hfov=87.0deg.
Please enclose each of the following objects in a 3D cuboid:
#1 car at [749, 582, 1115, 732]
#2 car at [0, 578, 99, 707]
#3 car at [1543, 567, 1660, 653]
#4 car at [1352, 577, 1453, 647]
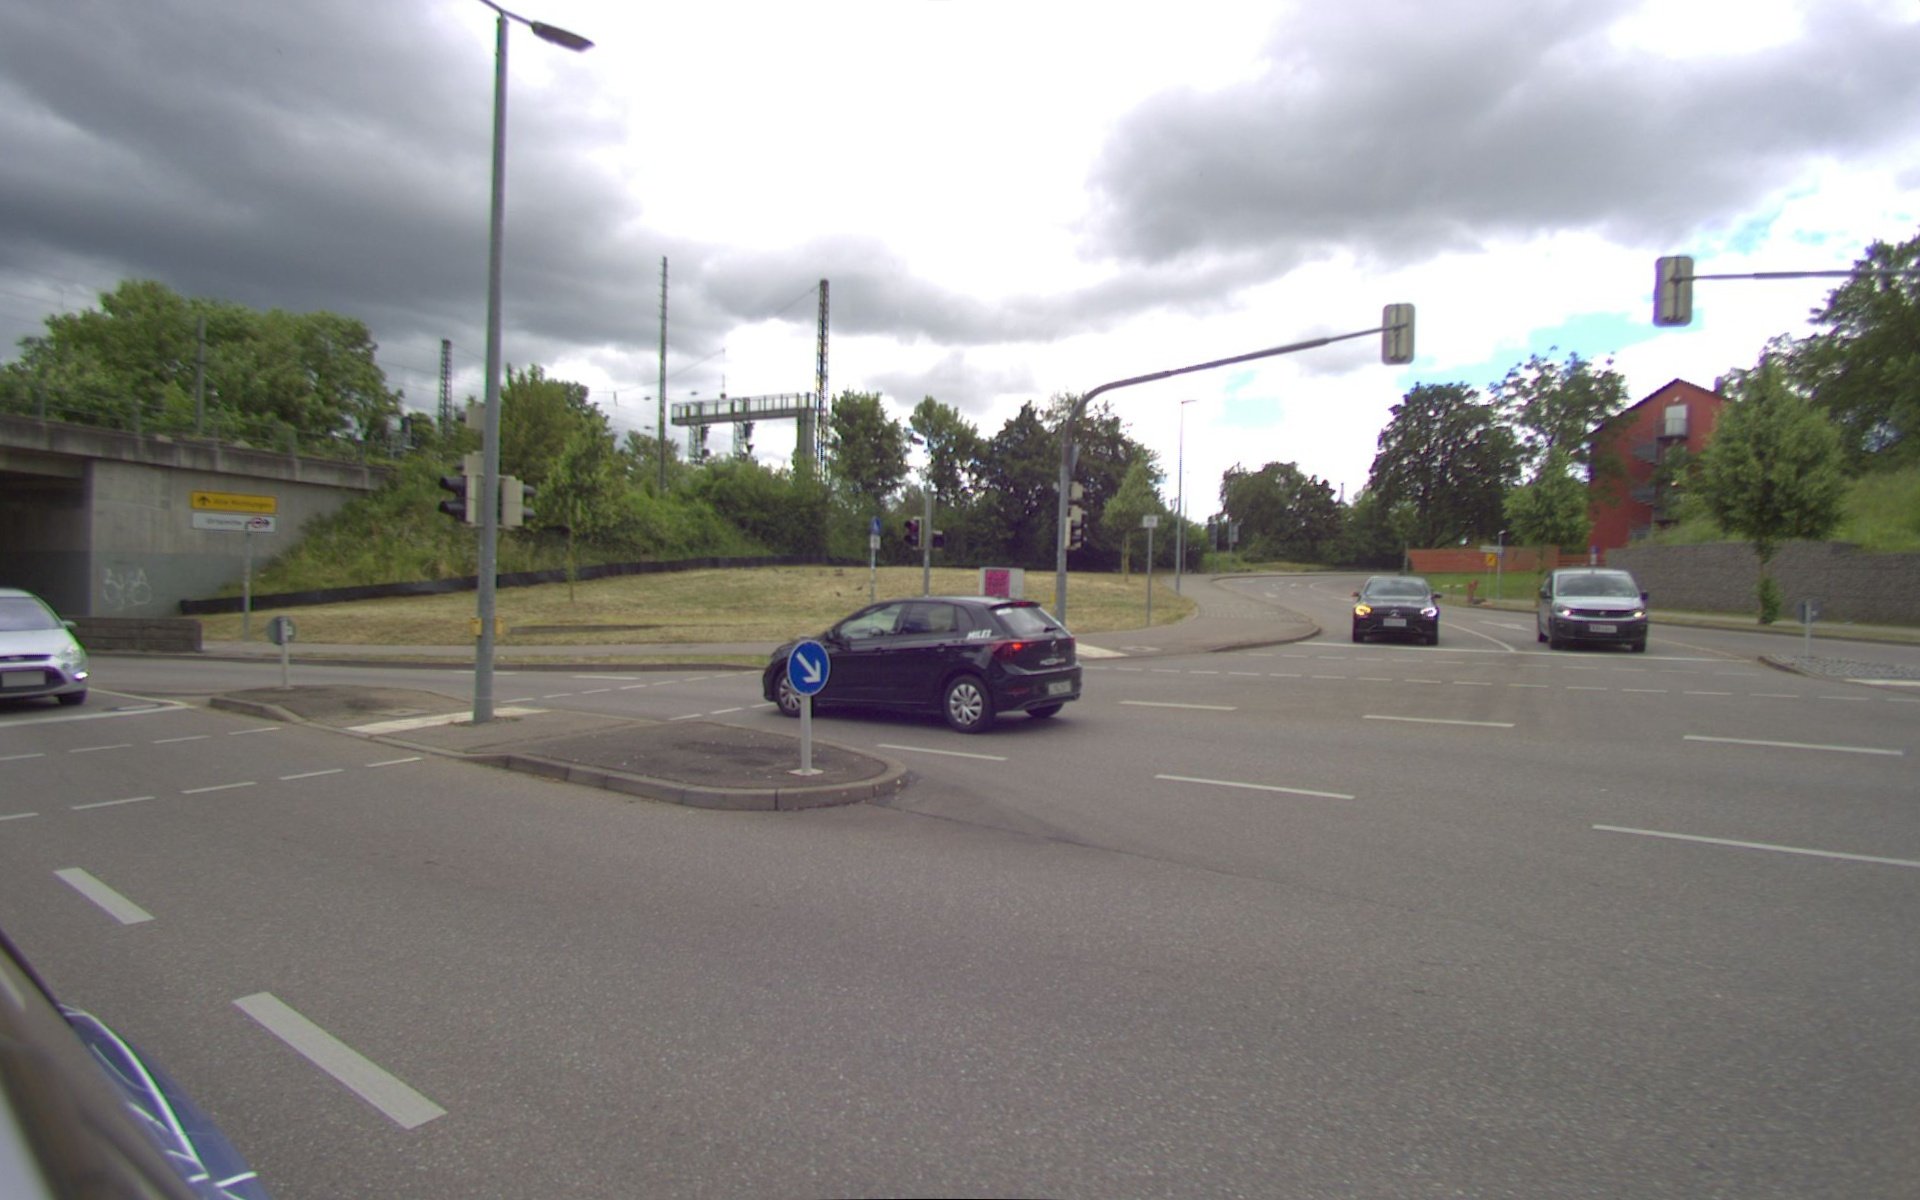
[{"bbox_3d":[-0.418,0.591,11.844,4.059,1.466,1.739,-1,0,36],"label":"car"},{"bbox_3d":[-14.009,0.547,14.267,4.502,1.651,1.809,0,0,35],"label":"car"},{"bbox_3d":[14.382,0.186,22.912,1.751,1.741,4.225,0,0,26],"label":"car"},{"bbox_3d":[10.890,0.256,24.993,2.098,1.563,4.229,0,0,24],"label":"car"}]
